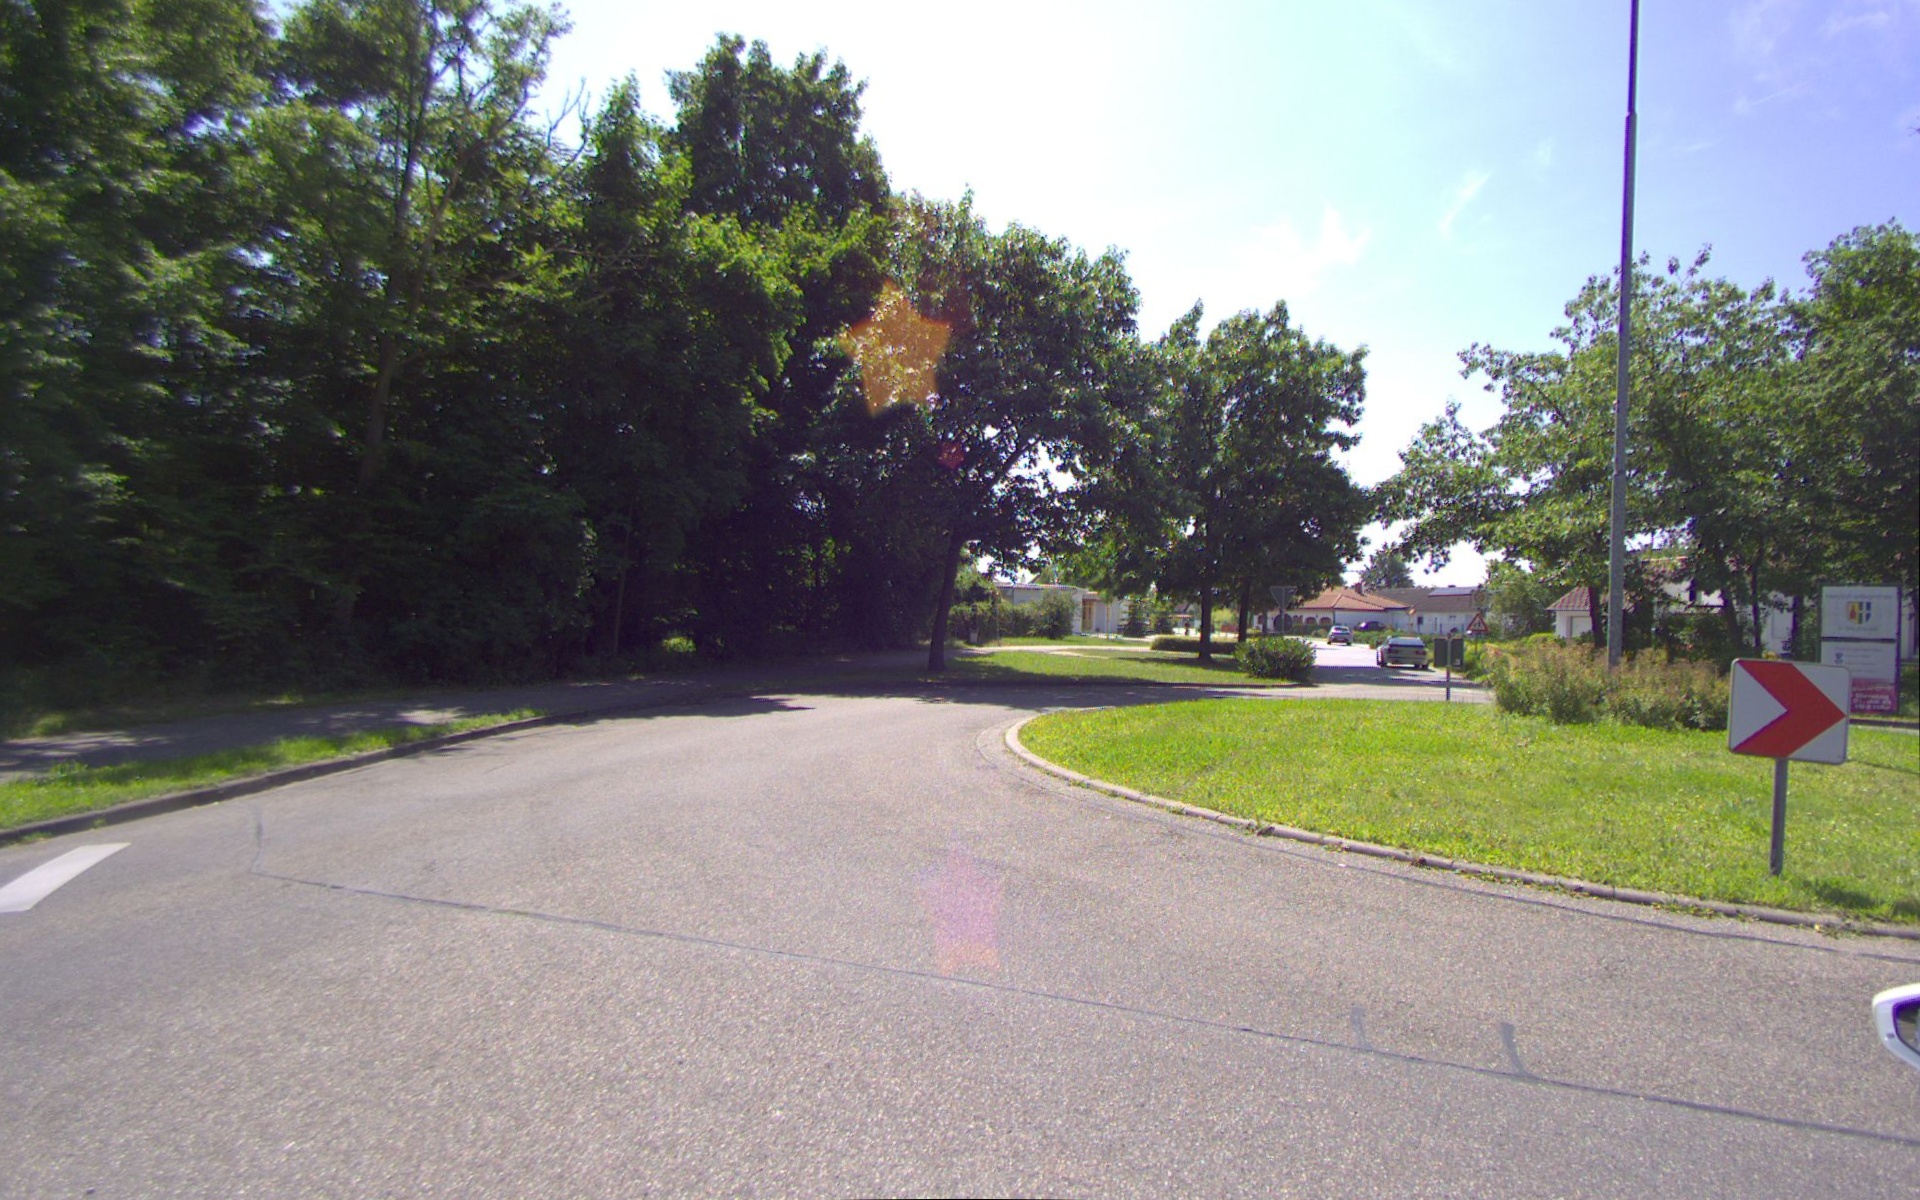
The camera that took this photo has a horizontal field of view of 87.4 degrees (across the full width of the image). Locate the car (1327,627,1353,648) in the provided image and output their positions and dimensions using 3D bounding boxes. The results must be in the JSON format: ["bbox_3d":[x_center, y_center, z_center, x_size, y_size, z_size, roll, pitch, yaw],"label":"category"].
[{"bbox_3d":[29.904,2.940,79.164,1.601,1.506,4.001,1,-1,17],"label":"car"}]

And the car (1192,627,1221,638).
[{"bbox_3d":[30.791,4.020,125.430,1.966,1.305,3.990,2,-1,-13],"label":"car"}]

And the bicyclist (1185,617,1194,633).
[{"bbox_3d":[17.289,1.858,75.692,0.587,1.180,0.649,1,-1,17],"label":"bicyclist"}]

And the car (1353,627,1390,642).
[{"bbox_3d":[46.272,3.873,112.957,3.786,1.563,1.842,2,-1,-26],"label":"car"}]

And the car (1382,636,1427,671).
[{"bbox_3d":[17.889,2.117,40.417,1.589,1.305,3.554,1,-1,24],"label":"car"}]

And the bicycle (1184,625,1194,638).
[{"bbox_3d":[17.248,2.372,75.585,0.587,0.941,1.621,1,-1,16],"label":"bicycle"}]
